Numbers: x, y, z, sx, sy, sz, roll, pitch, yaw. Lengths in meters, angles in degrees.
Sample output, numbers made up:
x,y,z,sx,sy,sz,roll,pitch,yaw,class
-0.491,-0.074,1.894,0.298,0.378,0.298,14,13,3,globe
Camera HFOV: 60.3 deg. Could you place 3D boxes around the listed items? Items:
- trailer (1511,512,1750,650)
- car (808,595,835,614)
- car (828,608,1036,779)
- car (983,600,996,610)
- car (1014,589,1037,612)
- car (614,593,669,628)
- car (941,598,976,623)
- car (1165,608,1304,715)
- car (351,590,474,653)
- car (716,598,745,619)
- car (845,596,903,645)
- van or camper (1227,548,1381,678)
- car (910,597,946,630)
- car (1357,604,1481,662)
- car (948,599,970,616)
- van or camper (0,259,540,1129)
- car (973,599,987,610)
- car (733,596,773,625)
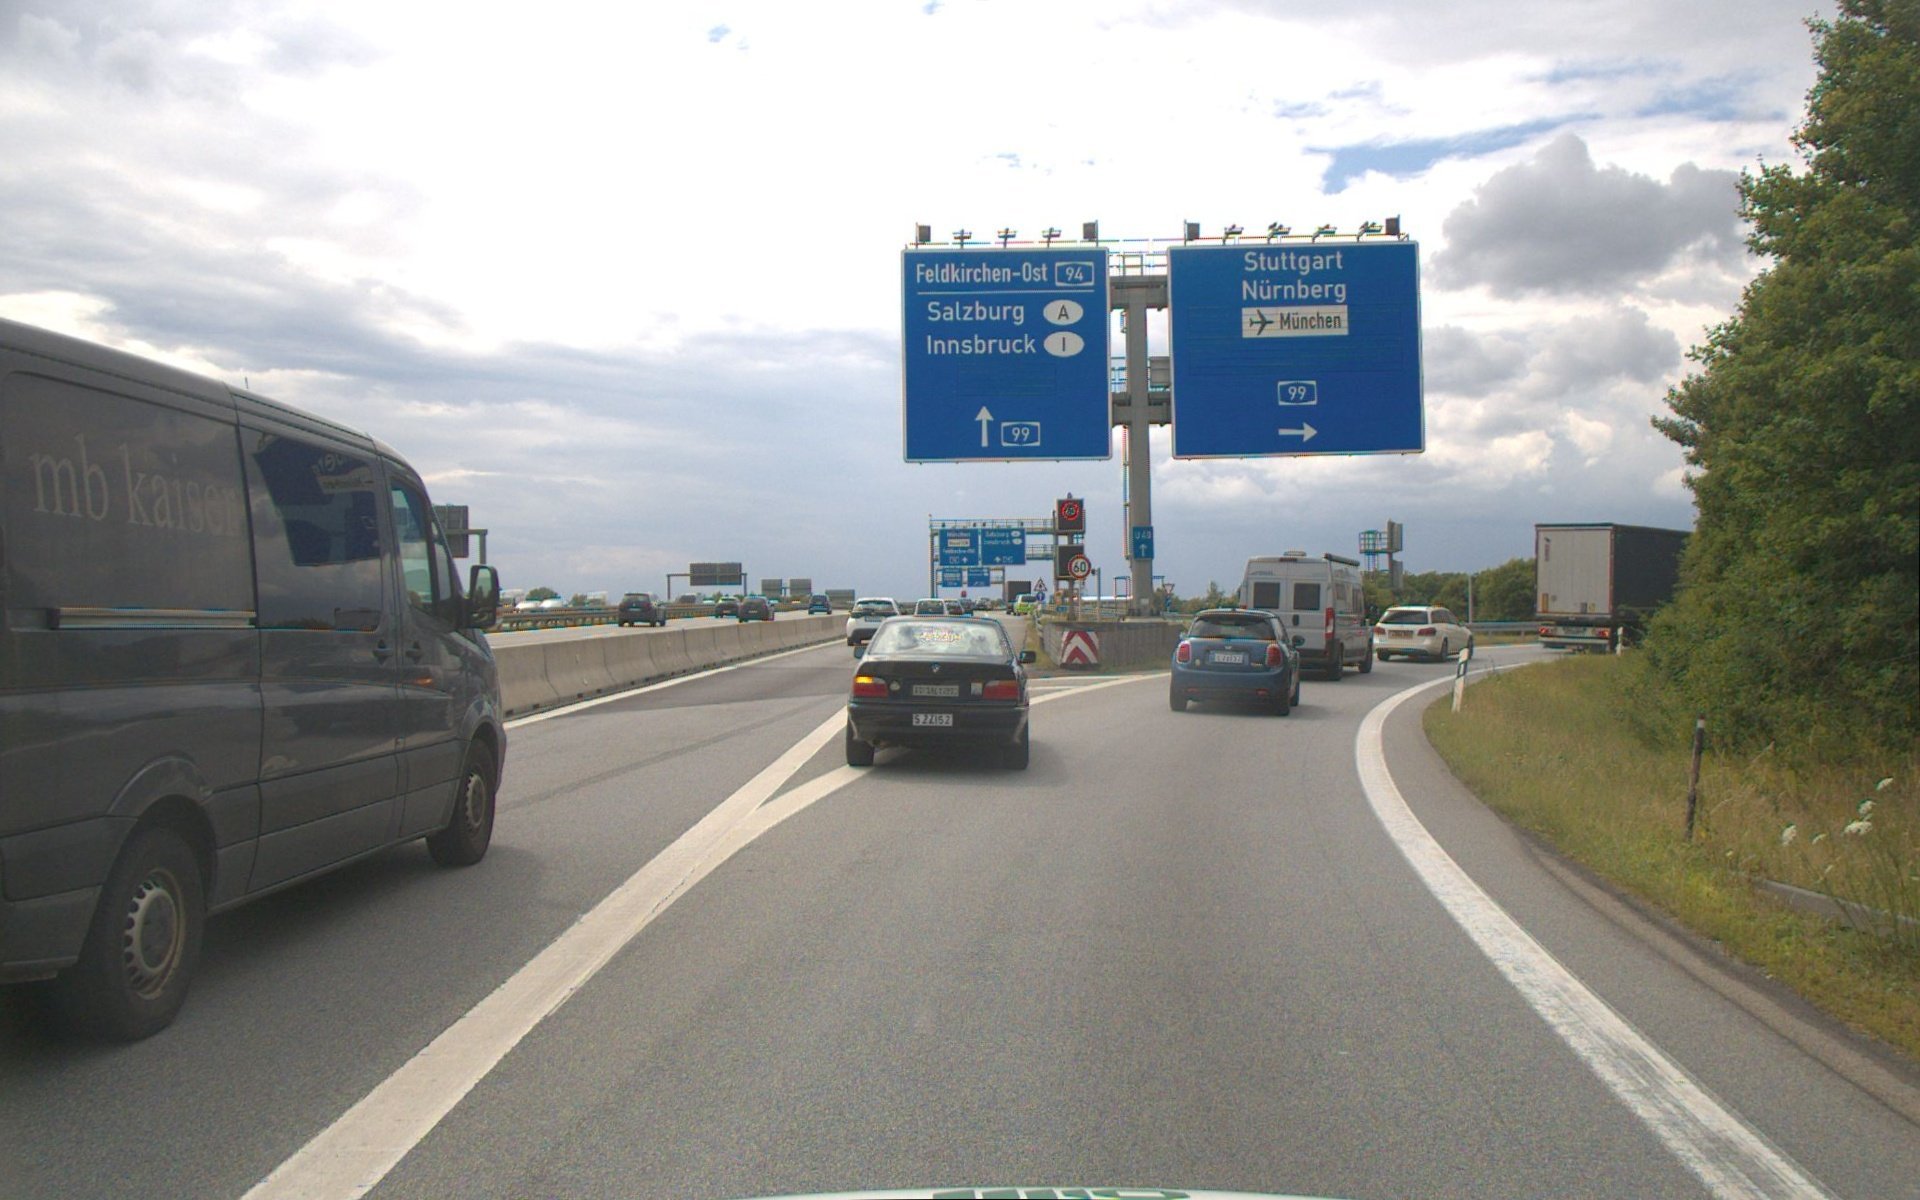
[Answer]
x,y,z,sx,sy,sz,roll,pitch,yaw,class
23.352,-0.578,56.956,3.283,4.266,12.947,0,0,43,trailer
-12.359,0.386,147.368,1.952,1.713,4.866,0,0,1,car
-0.197,0.797,15.942,1.745,1.402,4.137,0,0,1,car
4.240,0.748,236.852,1.765,1.449,4.001,0,0,2,car
6.021,0.045,152.522,1.953,2.049,3.999,0,0,-1,car
-15.495,0.503,80.582,1.862,1.667,4.233,1,0,0,car
-0.076,0.654,103.172,1.952,1.494,4.002,0,0,4,car
4.141,0.856,24.542,1.692,1.444,3.668,1,0,15,car
-15.055,0.565,45.733,1.862,1.669,4.644,0,0,0,car
-15.950,0.592,115.033,1.521,1.400,4.000,0,0,0,car
-2.734,0.635,53.128,1.666,1.534,3.840,0,0,0,car
7.737,0.257,36.673,2.247,2.613,6.159,0,0,22,van or camper
-1.483,0.632,78.366,1.552,1.510,3.535,0,0,1,car
12.859,0.878,46.141,2.165,1.527,4.777,0,0,31,car
-0.064,0.643,142.213,1.827,1.449,4.001,0,0,1,car
-3.617,0.258,7.212,1.958,2.412,6.126,0,0,0,van or camper
2.617,0.571,217.858,1.765,1.449,4.001,0,0,2,car
-11.562,0.560,92.708,1.737,1.557,4.000,0,0,0,car
